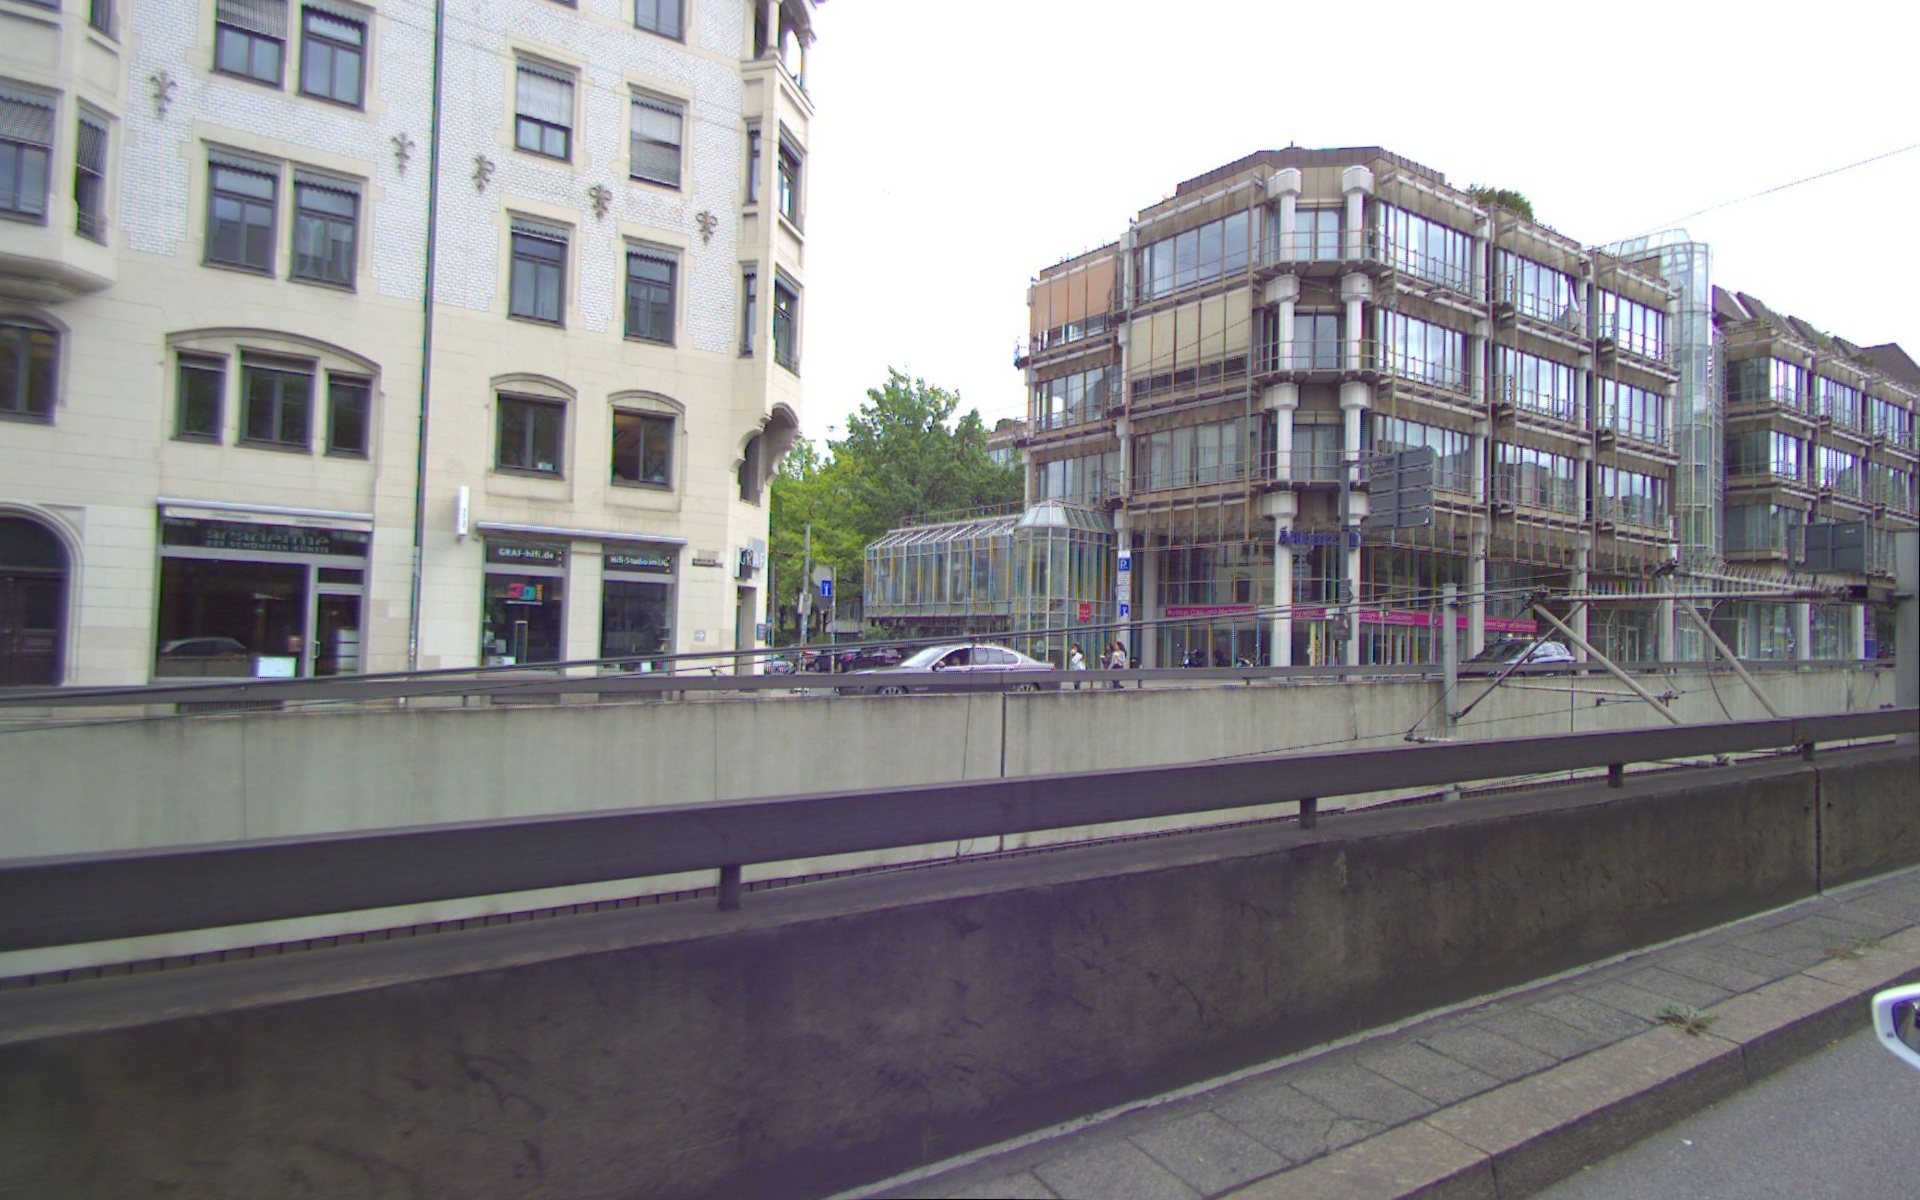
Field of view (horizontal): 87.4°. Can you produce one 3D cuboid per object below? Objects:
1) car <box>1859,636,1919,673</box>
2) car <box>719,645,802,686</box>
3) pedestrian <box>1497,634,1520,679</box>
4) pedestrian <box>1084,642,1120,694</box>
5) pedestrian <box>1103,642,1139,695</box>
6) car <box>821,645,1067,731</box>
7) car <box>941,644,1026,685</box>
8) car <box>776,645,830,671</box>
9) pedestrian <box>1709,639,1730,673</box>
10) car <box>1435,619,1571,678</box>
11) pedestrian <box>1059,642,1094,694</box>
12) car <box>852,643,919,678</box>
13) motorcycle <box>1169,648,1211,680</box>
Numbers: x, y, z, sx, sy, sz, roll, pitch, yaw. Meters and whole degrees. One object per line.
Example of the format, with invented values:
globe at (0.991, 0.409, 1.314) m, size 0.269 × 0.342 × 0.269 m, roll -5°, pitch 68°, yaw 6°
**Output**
car at (47.308, 2.729, 50.482) m, size 4.231 × 1.791 × 1.984 m, roll 1°, pitch -2°, yaw -31°
car at (-7.585, 2.430, 37.993) m, size 1.831 × 1.455 × 3.853 m, roll 1°, pitch -3°, yaw -32°
pedestrian at (22.552, 2.324, 41.315) m, size 0.686 × 1.816 × 0.530 m, roll 1°, pitch -2°, yaw -30°
pedestrian at (4.320, 2.051, 30.489) m, size 0.839 × 1.564 × 0.695 m, roll 2°, pitch -2°, yaw -38°
pedestrian at (4.795, 2.024, 29.883) m, size 0.839 × 1.564 × 0.695 m, roll 2°, pitch -2°, yaw -38°
car at (-0.303, 1.763, 21.072) m, size 4.827 × 1.606 × 1.986 m, roll 1°, pitch -2°, yaw -28°
car at (0.843, 2.368, 37.477) m, size 1.631 × 1.455 × 3.429 m, roll 1°, pitch -2°, yaw -31°
car at (-8.229, 2.998, 52.556) m, size 1.631 × 1.261 × 3.429 m, roll 1°, pitch -2°, yaw -31°
pedestrian at (41.677, 3.044, 55.146) m, size 0.708 × 1.848 × 0.767 m, roll 1°, pitch -2°, yaw -40°
car at (17.552, 1.542, 32.428) m, size 4.231 × 1.791 × 1.984 m, roll 1°, pitch -2°, yaw -31°
pedestrian at (3.603, 2.076, 31.005) m, size 0.839 × 1.564 × 0.695 m, roll 2°, pitch -2°, yaw -38°
car at (-3.339, 2.660, 44.440) m, size 1.631 × 1.455 × 3.429 m, roll 1°, pitch -2°, yaw -31°
motorcycle at (9.653, 2.685, 42.173) m, size 1.925 × 1.273 × 0.784 m, roll 2°, pitch -2°, yaw -43°
